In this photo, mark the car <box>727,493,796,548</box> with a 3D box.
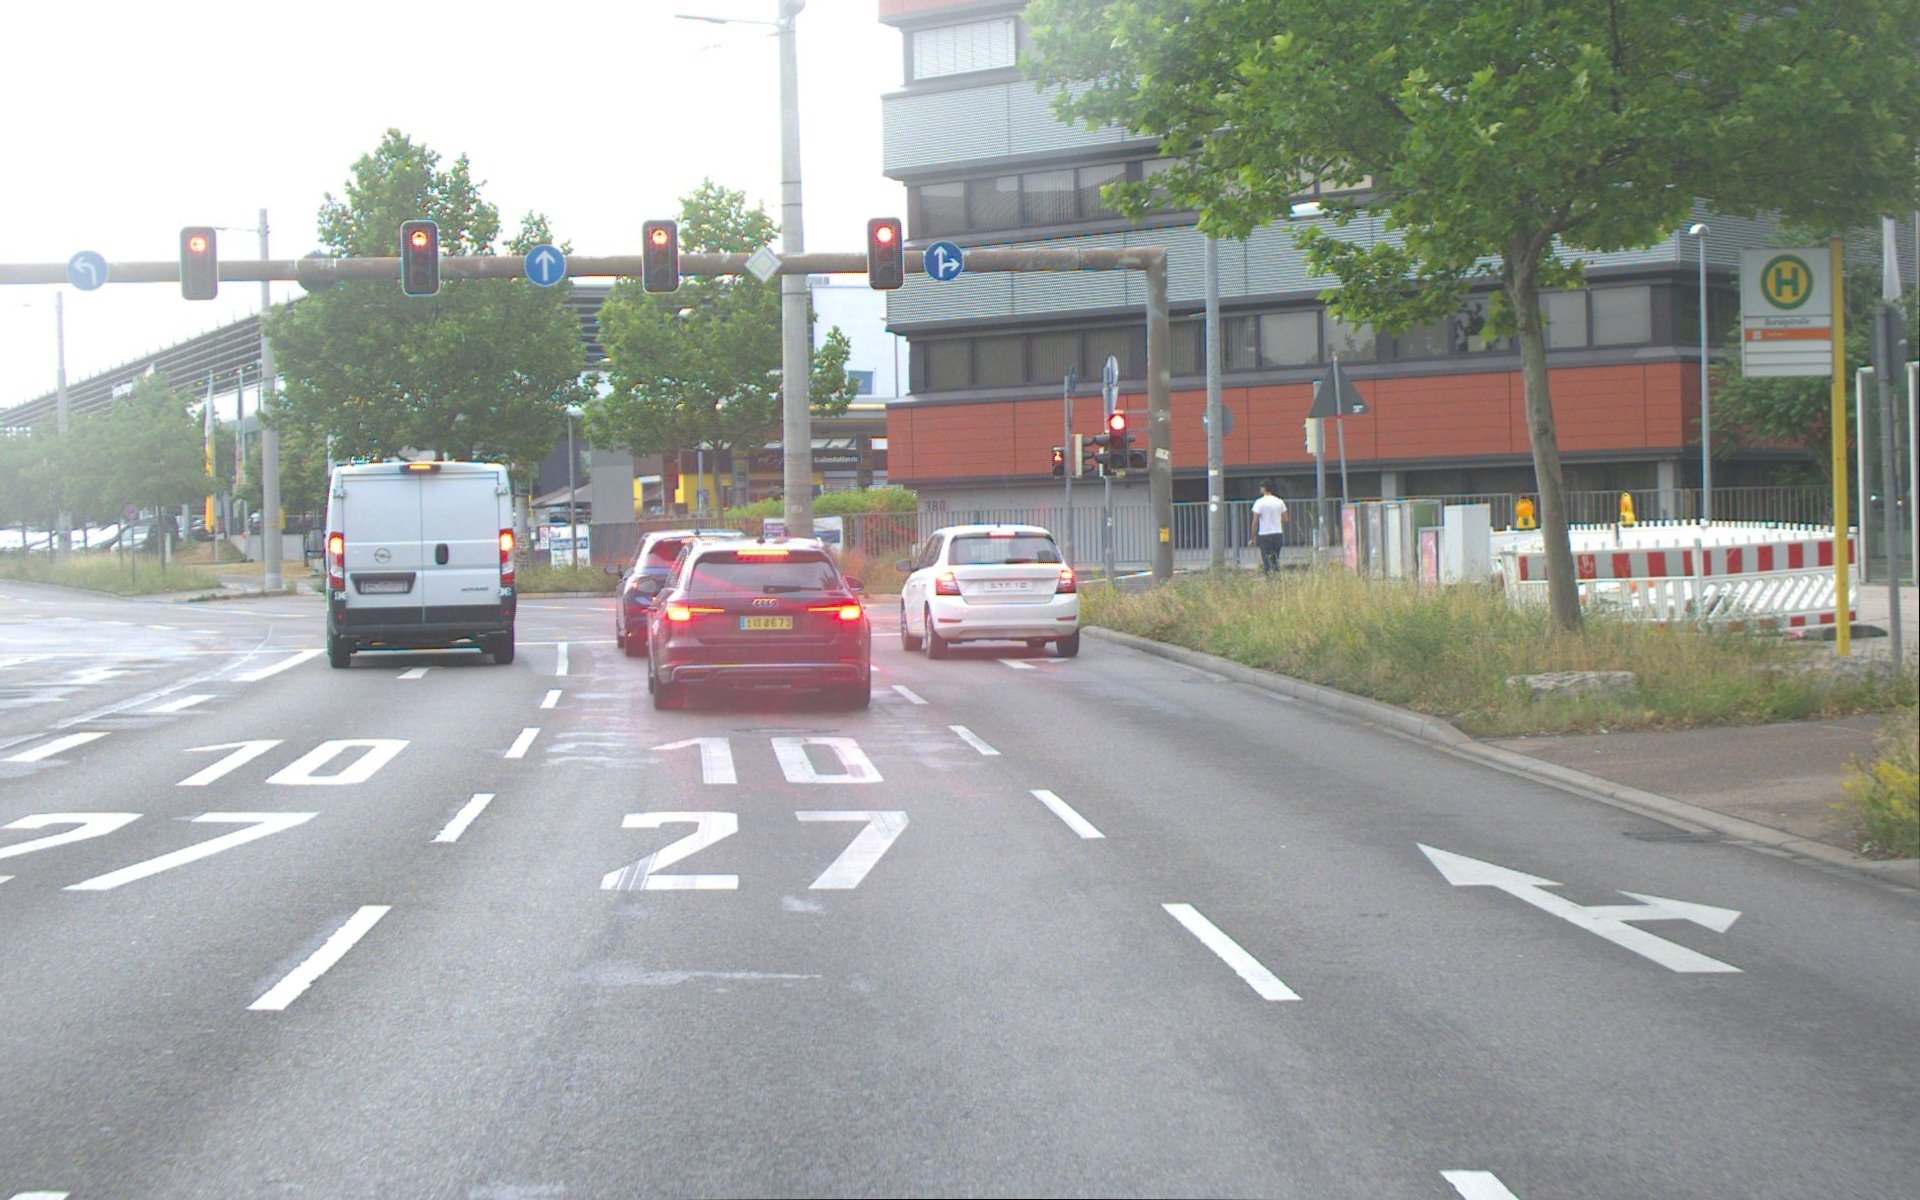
[{"bbox_3d":[-7.543,-3.011,130.386,1.674,2.007,3.138,1,0,-22],"label":"car"}]

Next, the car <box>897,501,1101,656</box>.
[{"bbox_3d":[0.387,-0.244,38.832,1.828,1.650,4.001,0,0,-6],"label":"car"}]

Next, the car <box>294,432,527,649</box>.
[{"bbox_3d":[-6.360,-0.646,39.430,2.444,2.286,4.906,1,0,-11],"label":"car"}]

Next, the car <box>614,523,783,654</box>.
[{"bbox_3d":[-3.084,-0.146,41.045,1.893,1.460,3.910,-1,0,-3],"label":"car"}]

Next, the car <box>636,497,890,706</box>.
[{"bbox_3d":[-1.722,0.002,29.263,1.993,1.631,4.001,-1,0,-5],"label":"car"}]

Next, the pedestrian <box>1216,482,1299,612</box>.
[{"bbox_3d":[5.009,-0.907,57.976,1.143,2.118,1.223,-2,3,-5],"label":"pedestrian"}]

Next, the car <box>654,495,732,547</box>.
[{"bbox_3d":[-10.762,-3.169,138.512,1.870,2.007,3.775,1,0,-26],"label":"car"}]
